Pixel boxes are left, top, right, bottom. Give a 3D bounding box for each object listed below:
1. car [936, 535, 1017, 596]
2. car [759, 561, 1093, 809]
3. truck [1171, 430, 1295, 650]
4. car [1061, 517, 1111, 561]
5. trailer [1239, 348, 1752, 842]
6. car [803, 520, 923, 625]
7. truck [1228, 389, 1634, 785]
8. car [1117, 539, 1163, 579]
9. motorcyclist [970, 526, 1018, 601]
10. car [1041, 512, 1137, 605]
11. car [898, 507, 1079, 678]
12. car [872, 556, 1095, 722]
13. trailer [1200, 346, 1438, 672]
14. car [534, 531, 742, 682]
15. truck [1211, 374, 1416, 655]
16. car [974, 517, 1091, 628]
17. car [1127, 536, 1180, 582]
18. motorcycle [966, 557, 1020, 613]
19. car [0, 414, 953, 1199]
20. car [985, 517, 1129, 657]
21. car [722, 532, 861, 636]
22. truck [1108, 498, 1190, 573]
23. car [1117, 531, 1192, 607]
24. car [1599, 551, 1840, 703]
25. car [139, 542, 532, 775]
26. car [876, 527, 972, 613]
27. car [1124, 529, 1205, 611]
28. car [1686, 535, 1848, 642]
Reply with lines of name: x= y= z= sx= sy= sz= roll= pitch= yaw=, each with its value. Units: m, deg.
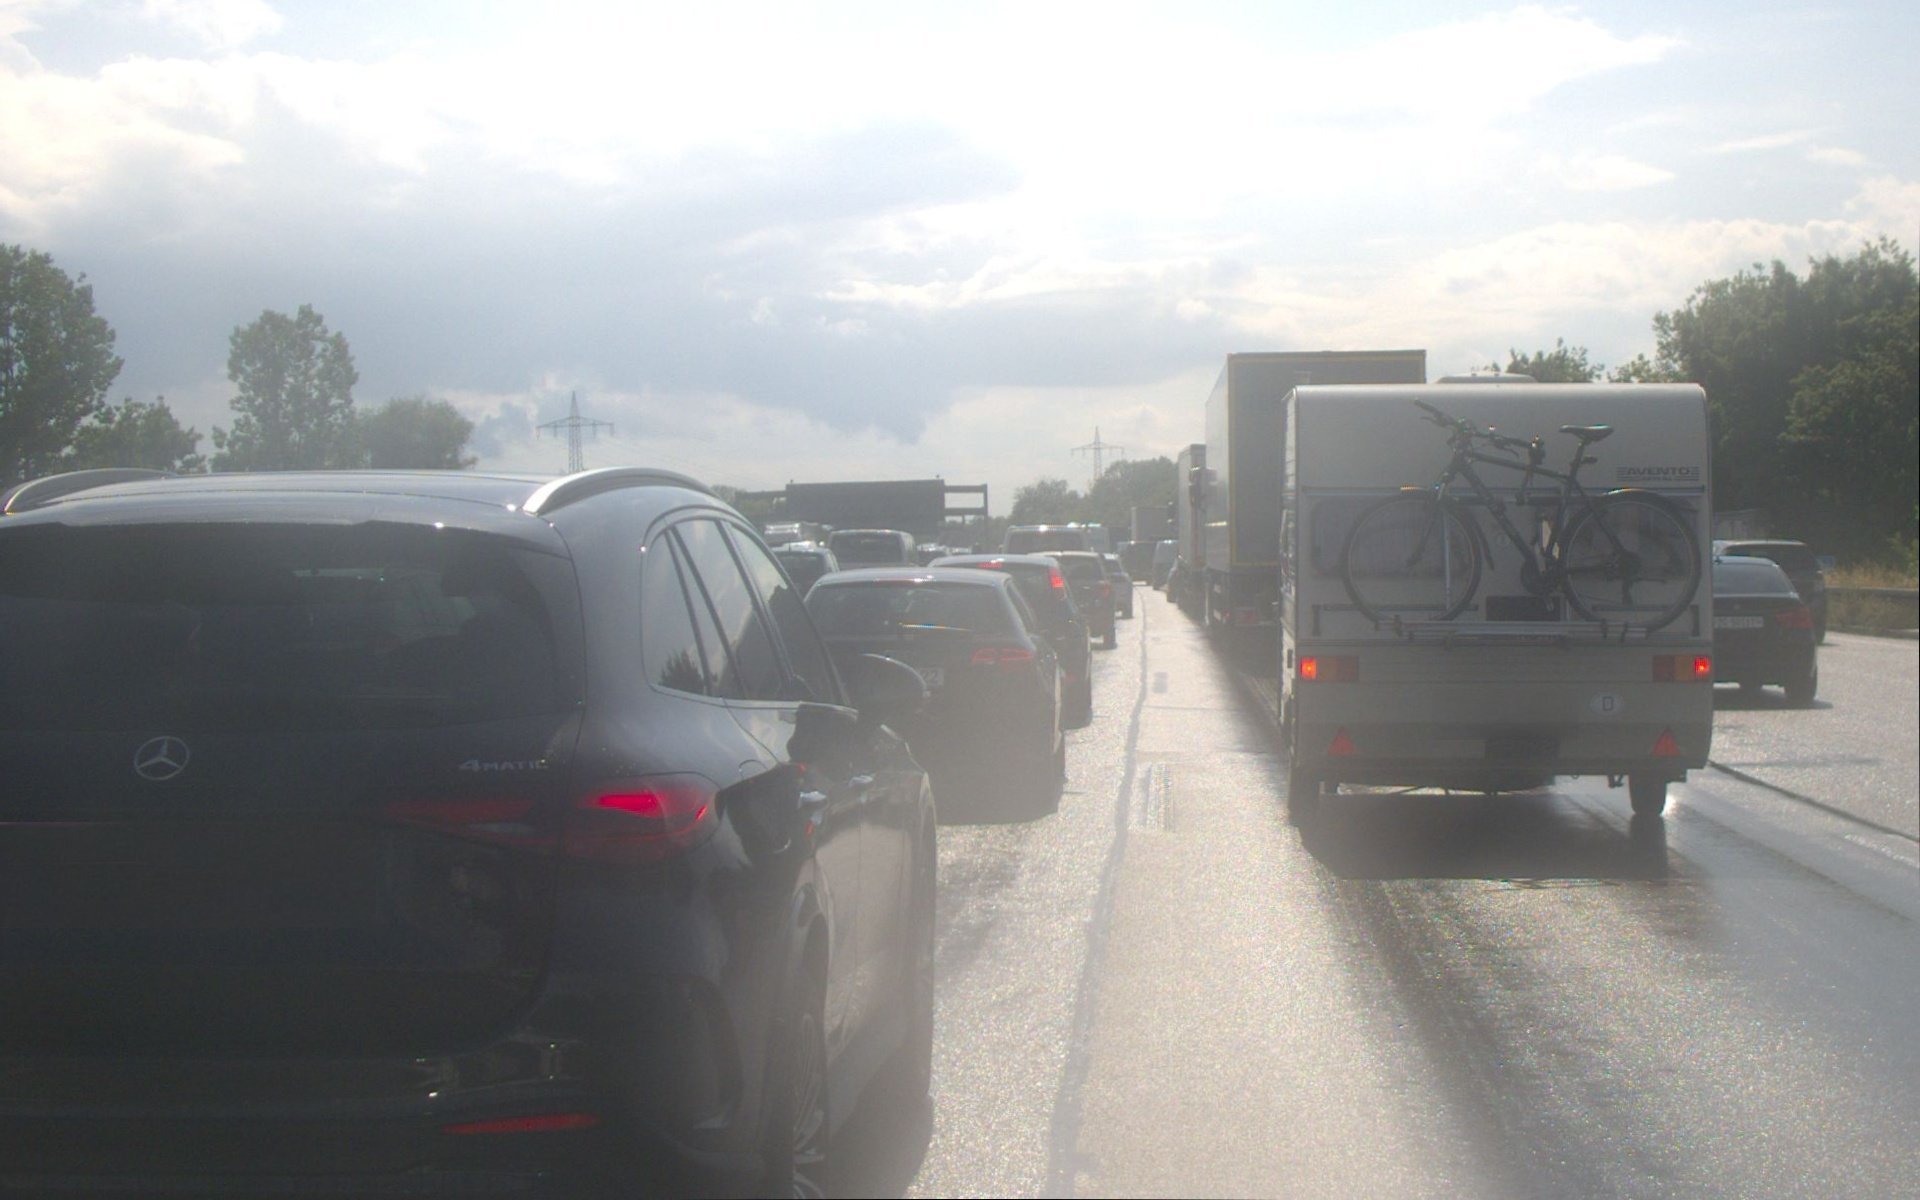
car: x=0.495 y=-1.006 z=98.998 sx=1.994 sy=1.610 sz=4.000 roll=3 pitch=1 yaw=4
car: x=-0.118 y=0.461 z=21.479 sx=1.757 sy=1.382 sz=3.944 roll=0 pitch=1 yaw=4
truck: x=6.220 y=-1.368 z=79.216 sx=2.502 sy=4.813 sz=7.543 roll=0 pitch=1 yaw=2
car: x=5.081 y=-2.466 z=139.290 sx=1.876 sy=1.754 sz=4.000 roll=0 pitch=1 yaw=0
trailer: x=2.962 y=-0.065 z=20.610 sx=2.374 sy=2.475 sz=6.522 roll=0 pitch=1 yaw=3
car: x=-1.987 y=-0.589 z=71.617 sx=1.994 sy=2.007 sz=4.000 roll=3 pitch=1 yaw=4
truck: x=3.179 y=-0.117 z=24.471 sx=2.374 sy=2.468 sz=5.755 roll=0 pitch=1 yaw=3
car: x=8.031 y=-1.832 z=153.712 sx=1.876 sy=1.754 sz=4.000 roll=0 pitch=1 yaw=0
motorcyclist: x=0.777 y=-0.841 z=79.136 sx=1.064 sy=1.712 sz=0.785 roll=0 pitch=0 yaw=4
car: x=2.934 y=-0.931 z=77.416 sx=1.994 sy=2.007 sz=4.000 roll=-1 pitch=1 yaw=4
car: x=0.402 y=-0.118 z=42.763 sx=1.994 sy=2.007 sz=4.000 roll=1 pitch=1 yaw=4
car: x=0.277 y=0.310 z=31.397 sx=1.806 sy=1.402 sz=4.000 roll=1 pitch=1 yaw=3
trailer: x=4.980 y=-1.225 z=48.151 sx=3.007 sy=4.152 sz=8.534 roll=0 pitch=1 yaw=5
car: x=-3.830 y=0.049 z=41.483 sx=1.993 sy=1.714 sz=4.000 roll=0 pitch=1 yaw=2
truck: x=5.490 y=-1.304 z=53.655 sx=2.996 sy=4.152 sz=5.239 roll=0 pitch=1 yaw=5
car: x=1.410 y=-0.536 z=65.634 sx=1.994 sy=2.007 sz=4.000 roll=1 pitch=1 yaw=4
car: x=7.558 y=-1.616 z=134.766 sx=1.876 sy=1.754 sz=4.000 roll=0 pitch=1 yaw=0
motorcycle: x=0.770 y=-0.361 z=79.022 sx=1.074 sy=1.267 sz=2.690 roll=0 pitch=1 yaw=4
car: x=-1.139 y=0.524 z=7.461 sx=1.994 sy=1.656 sz=4.405 roll=0 pitch=1 yaw=3
car: x=1.563 y=-0.226 z=54.038 sx=1.994 sy=2.007 sz=4.000 roll=3 pitch=1 yaw=4
car: x=-2.932 y=-0.296 z=60.582 sx=1.994 sy=1.766 sz=4.000 roll=0 pitch=1 yaw=4
truck: x=10.507 y=-3.573 z=192.182 sx=3.843 sy=4.003 sz=11.222 roll=0 pitch=1 yaw=-1
car: x=5.590 y=-0.901 z=98.466 sx=1.994 sy=2.007 sz=4.000 roll=3 pitch=1 yaw=4
car: x=7.484 y=0.226 z=34.192 sx=1.740 sy=1.415 sz=3.835 roll=0 pitch=1 yaw=3
car: x=-4.349 y=0.350 z=24.574 sx=1.757 sy=1.511 sz=4.208 roll=0 pitch=1 yaw=4
car: x=-0.835 y=-0.728 z=82.046 sx=1.994 sy=2.007 sz=4.000 roll=0 pitch=1 yaw=4
car: x=5.275 y=-0.774 z=88.365 sx=1.994 sy=2.007 sz=4.000 roll=1 pitch=1 yaw=4
car: x=12.698 y=-0.212 z=54.331 sx=1.788 sy=1.607 sz=4.384 roll=0 pitch=1 yaw=4
